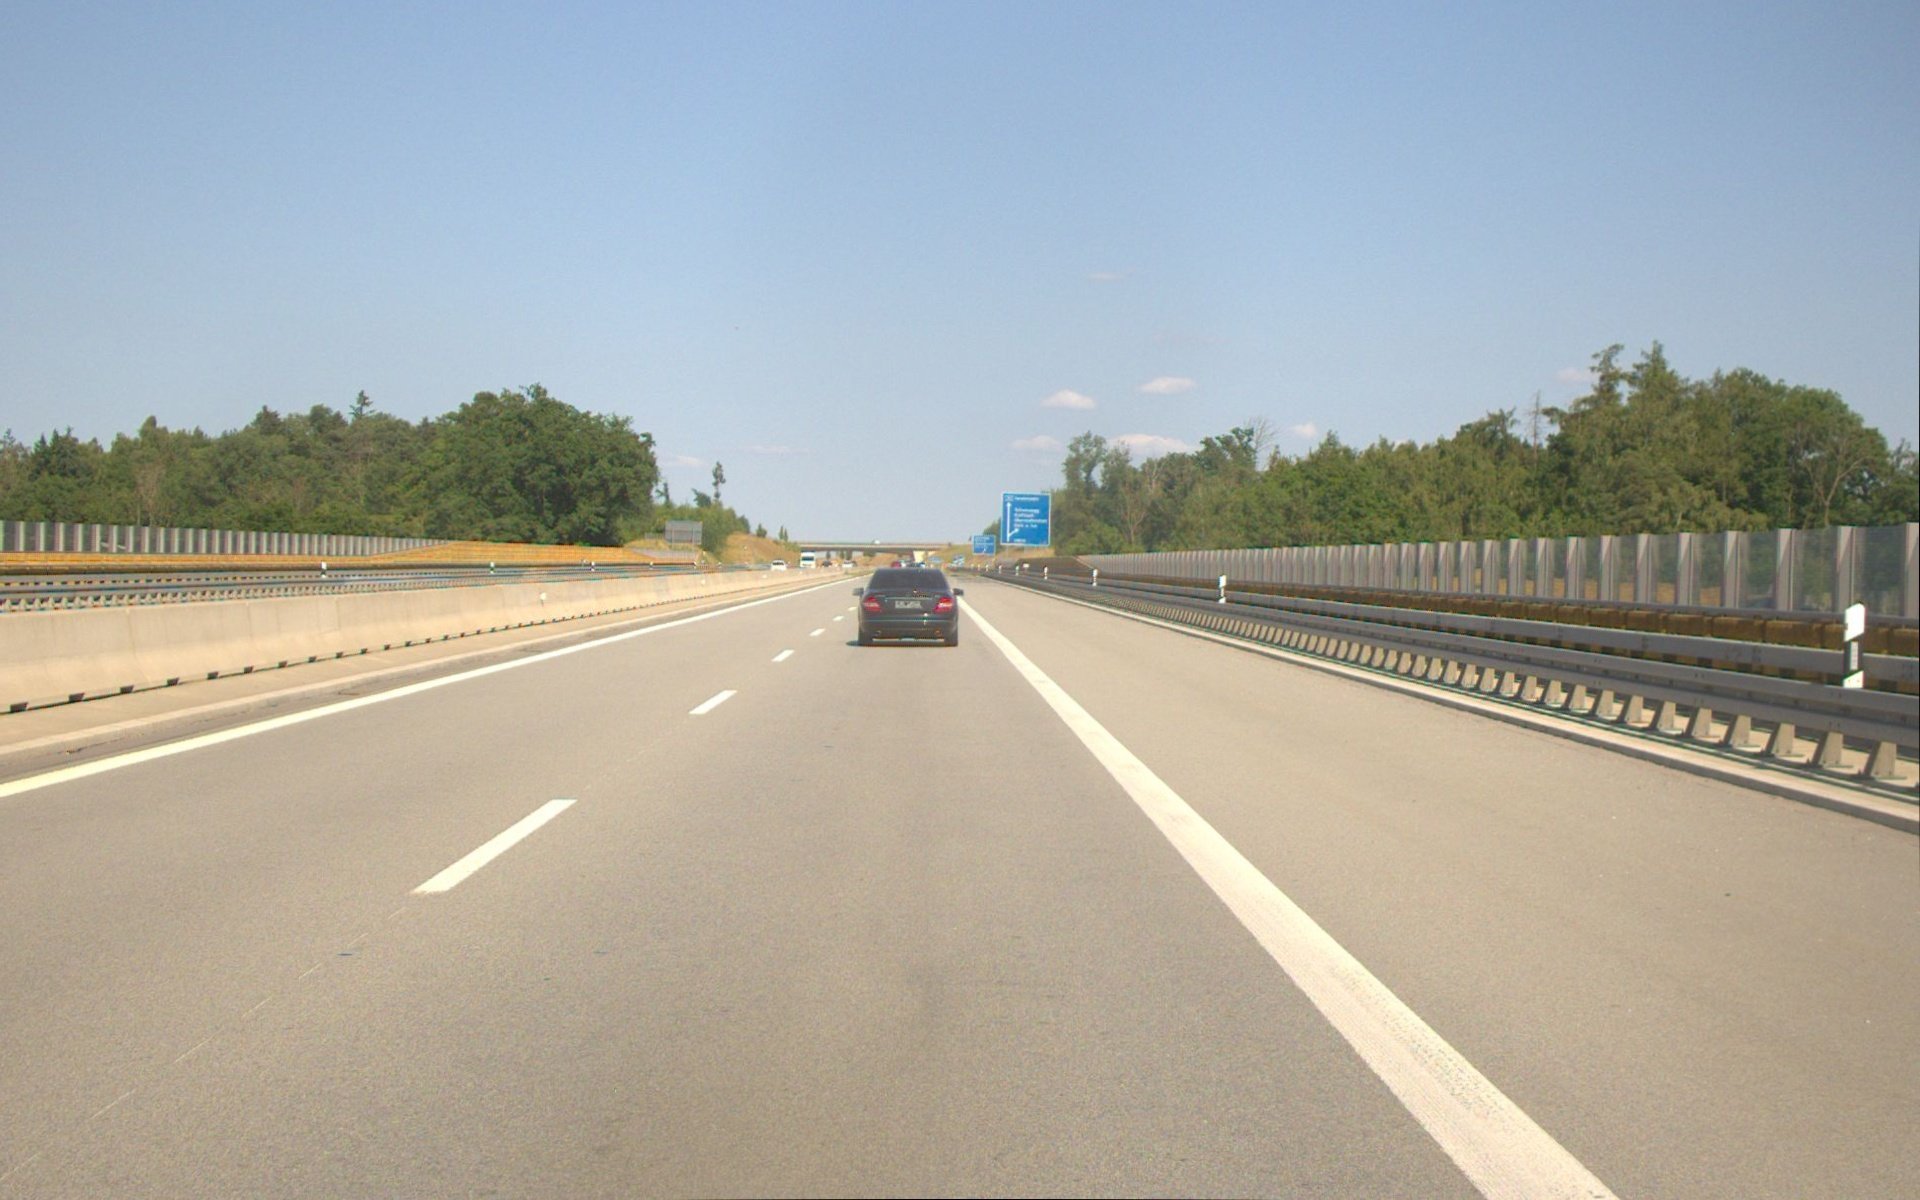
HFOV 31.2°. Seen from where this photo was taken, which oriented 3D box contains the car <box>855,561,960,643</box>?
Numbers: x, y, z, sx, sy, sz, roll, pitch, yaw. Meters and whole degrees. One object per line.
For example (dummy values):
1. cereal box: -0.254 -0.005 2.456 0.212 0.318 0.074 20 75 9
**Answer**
1. car: -0.909 0.012 61.066 1.790 1.369 3.917 0 1 0
